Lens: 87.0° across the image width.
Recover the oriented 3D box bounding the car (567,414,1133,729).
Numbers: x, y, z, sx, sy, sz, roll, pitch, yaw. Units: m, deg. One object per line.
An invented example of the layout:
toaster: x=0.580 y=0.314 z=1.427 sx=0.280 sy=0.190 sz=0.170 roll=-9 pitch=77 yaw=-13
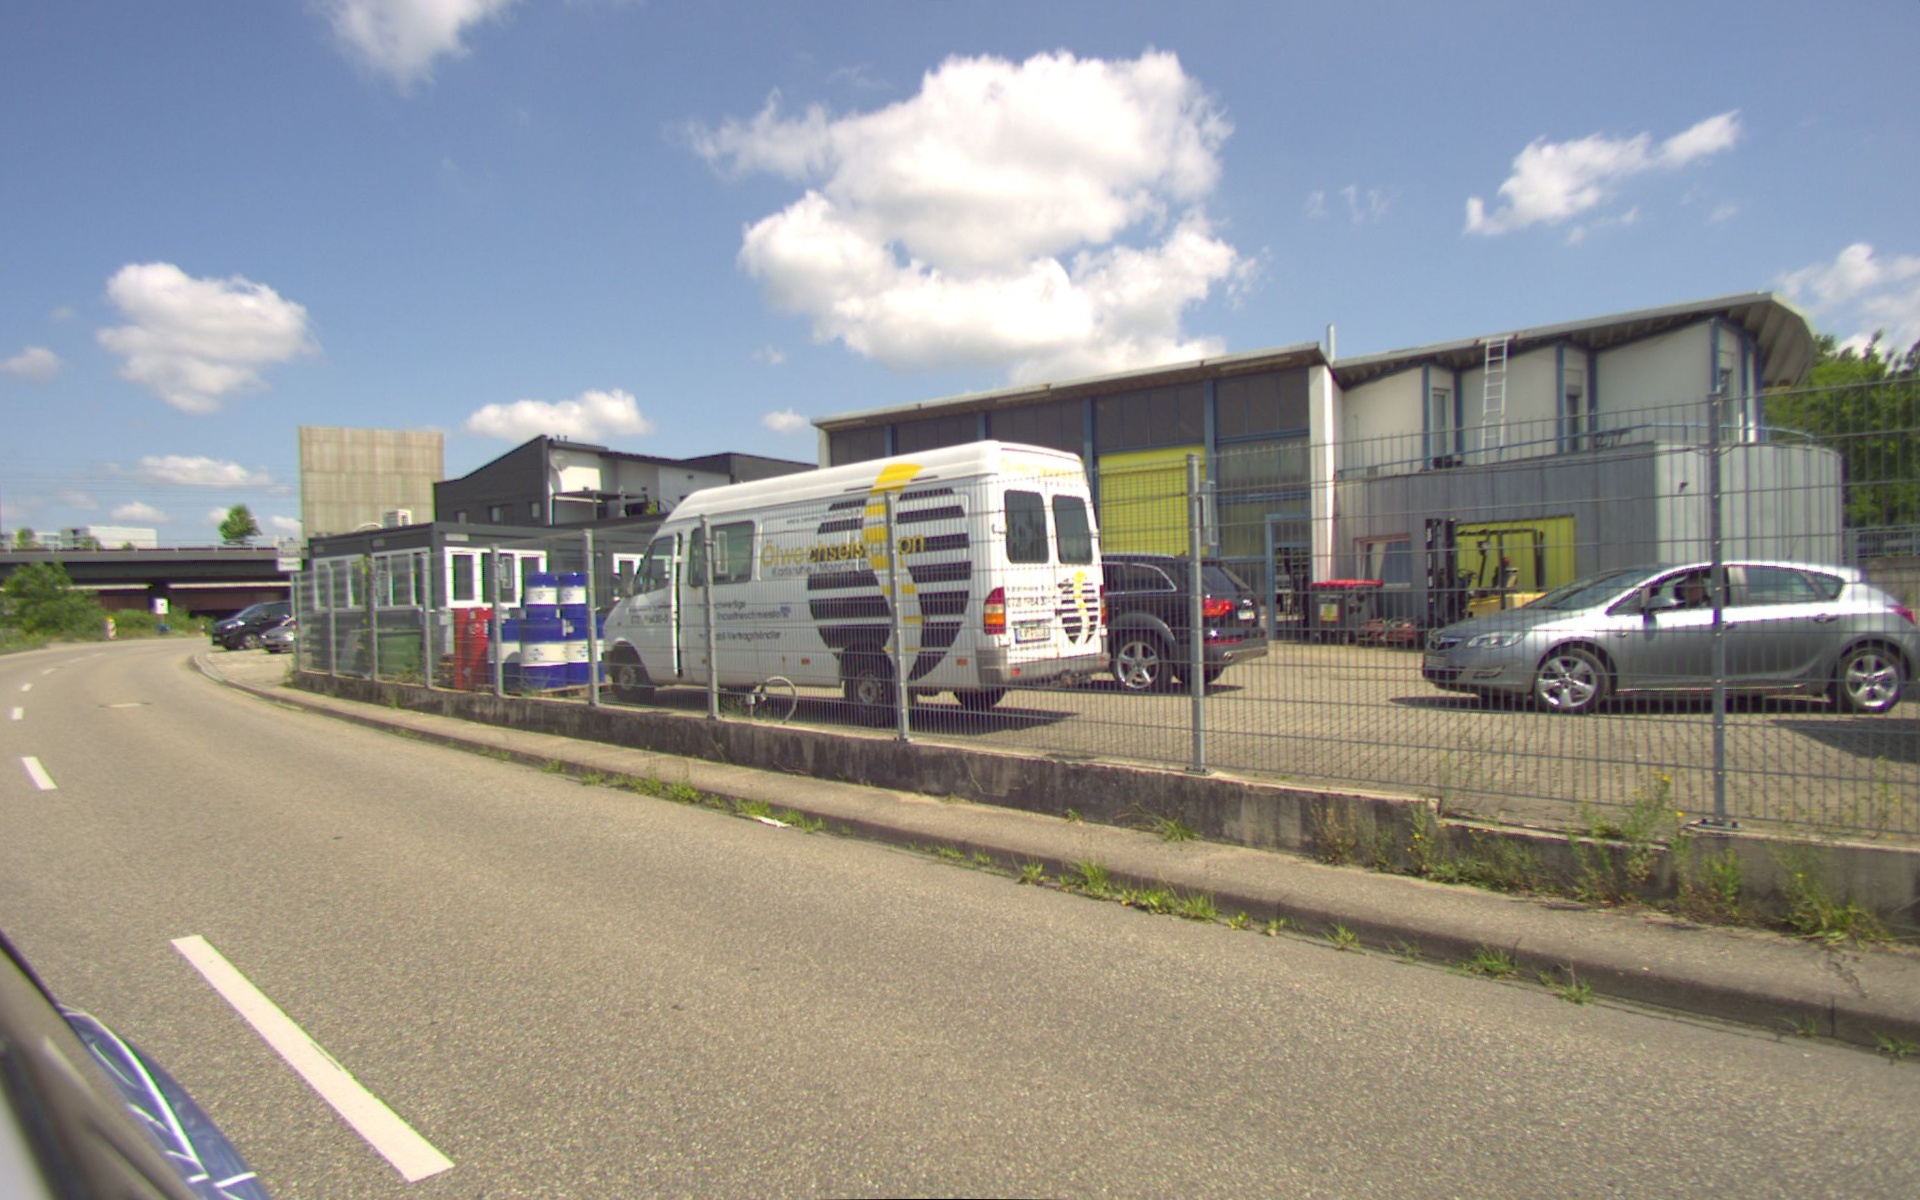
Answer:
car: x=-1.589 y=-0.171 z=11.171 sx=6.710 sy=2.556 sz=2.098 roll=-2 pitch=-1 yaw=40

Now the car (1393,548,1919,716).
car: x=6.843 y=0.280 z=10.075 sx=4.208 sy=1.440 sz=1.921 roll=-1 pitch=1 yaw=4

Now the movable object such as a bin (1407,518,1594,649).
movable object such as a bin: x=9.571 y=-0.284 z=18.060 sx=1.609 sy=2.121 sz=2.384 roll=-3 pitch=1 yaw=-24

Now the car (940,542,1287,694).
car: x=1.932 y=0.236 z=13.106 sx=3.990 sy=1.680 sz=1.961 roll=-1 pitch=-1 yaw=35

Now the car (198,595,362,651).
car: x=-28.177 y=0.908 z=42.138 sx=1.993 sy=1.930 sz=5.288 roll=-1 pitch=3 yaw=31

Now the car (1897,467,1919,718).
car: x=7.917 y=-0.068 z=6.052 sx=2.047 sy=2.042 sz=4.531 roll=-1 pitch=0 yaw=25

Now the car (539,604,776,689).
car: x=-5.554 y=0.786 z=19.082 sx=1.729 sy=1.342 sz=4.163 roll=2 pitch=1 yaw=33

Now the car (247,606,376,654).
car: x=-23.650 y=1.071 z=37.028 sx=1.782 sy=1.487 sz=3.676 roll=-2 pitch=1 yaw=16

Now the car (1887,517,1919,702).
car: x=11.854 y=0.061 z=10.235 sx=4.338 sy=1.846 sz=2.007 roll=-1 pitch=0 yaw=-23
